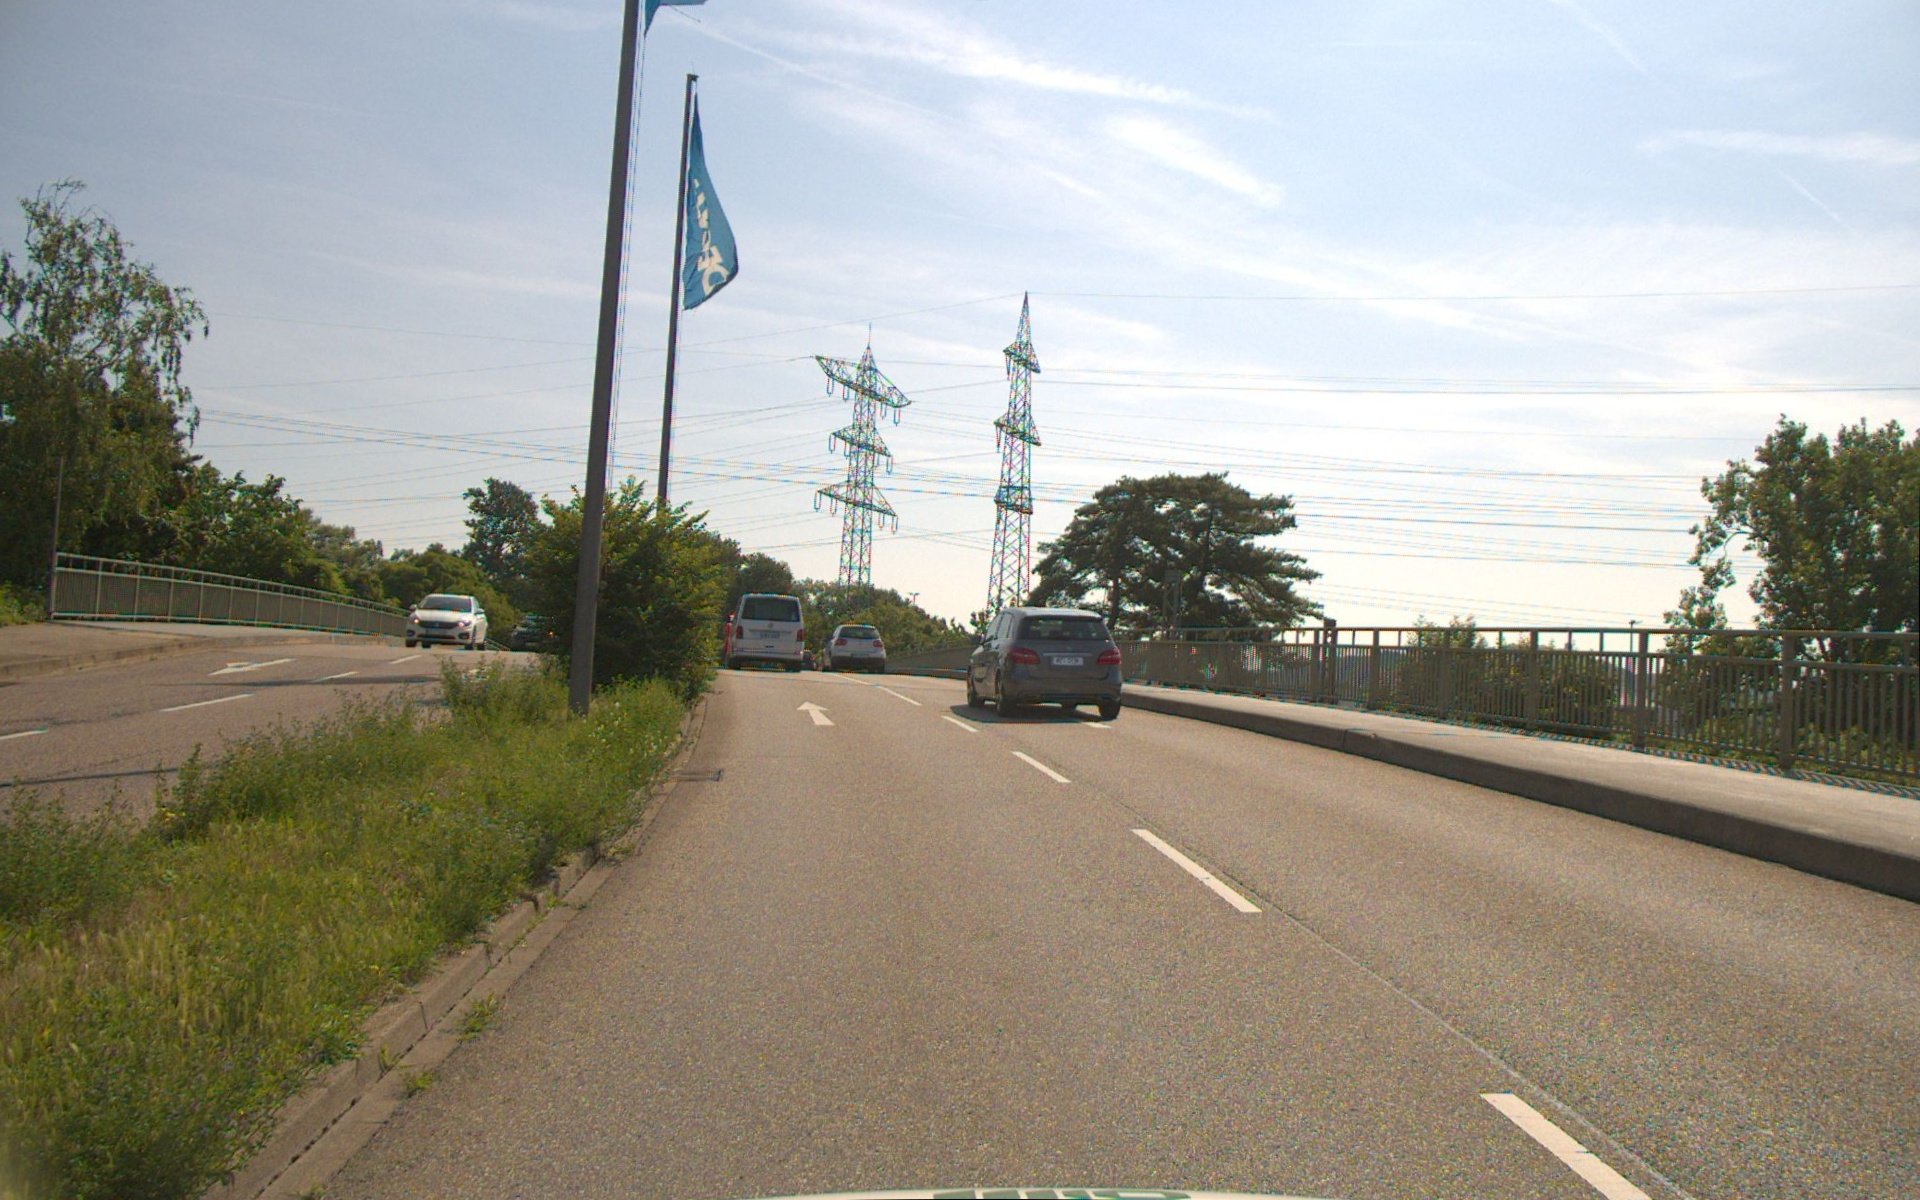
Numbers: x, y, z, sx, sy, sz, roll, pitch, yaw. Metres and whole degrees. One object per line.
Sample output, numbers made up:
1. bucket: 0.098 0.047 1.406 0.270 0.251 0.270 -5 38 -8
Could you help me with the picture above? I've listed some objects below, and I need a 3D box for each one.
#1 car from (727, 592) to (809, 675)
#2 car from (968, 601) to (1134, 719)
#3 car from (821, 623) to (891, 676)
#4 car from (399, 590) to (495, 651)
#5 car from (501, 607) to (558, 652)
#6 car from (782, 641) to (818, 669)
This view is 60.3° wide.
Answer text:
1. car: -5.105 0.883 44.373 2.000 2.049 3.995 2 -1 -5
2. car: 1.268 0.855 24.732 1.820 1.556 4.138 2 -1 -6
3. car: -3.325 1.563 52.281 1.822 1.556 4.135 2 -2 -8
4. car: -13.953 0.567 45.201 1.763 1.578 3.994 1 -1 -7
5. car: -17.505 1.171 67.403 1.847 1.664 4.215 2 0 -10
6. car: -8.373 2.878 86.363 1.740 1.355 3.733 1 -4 -7
